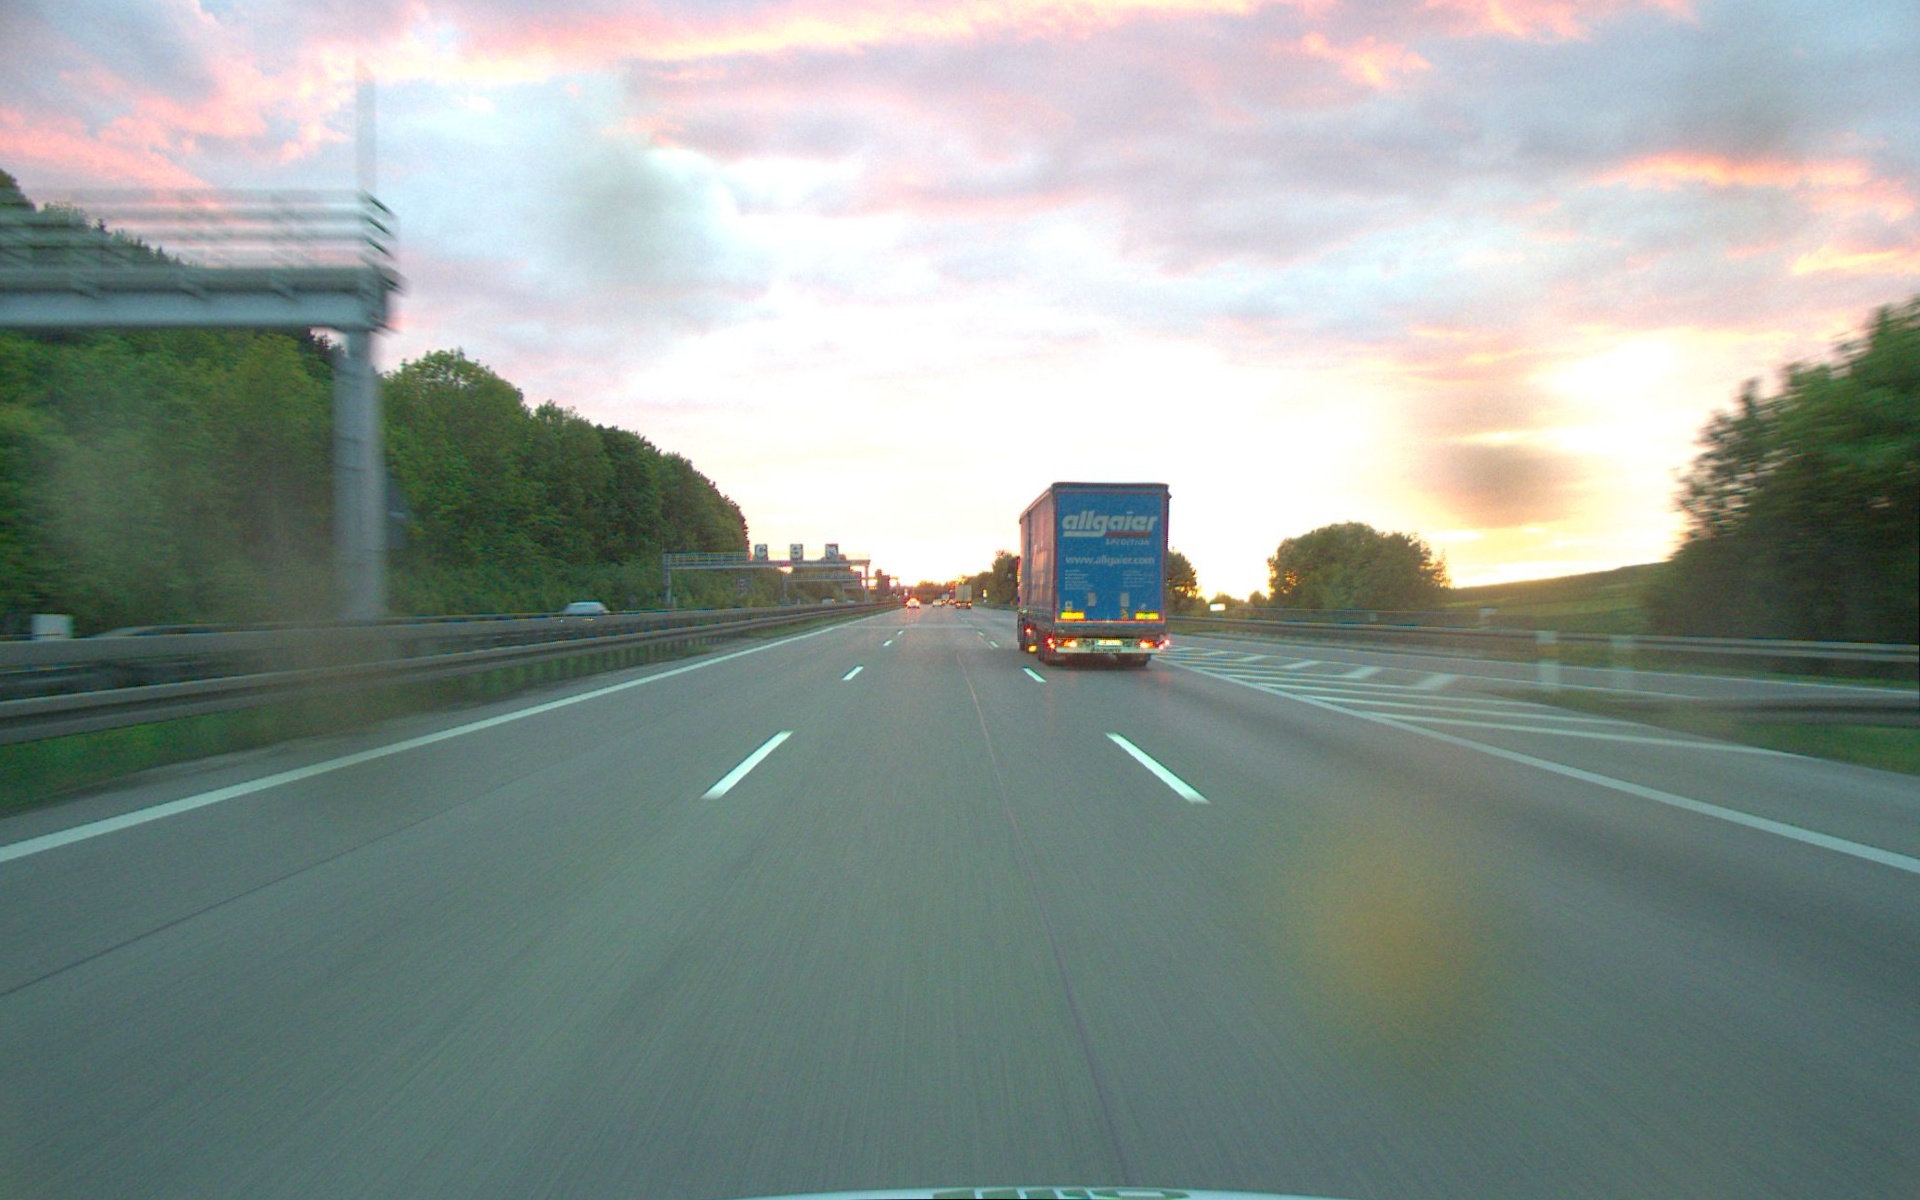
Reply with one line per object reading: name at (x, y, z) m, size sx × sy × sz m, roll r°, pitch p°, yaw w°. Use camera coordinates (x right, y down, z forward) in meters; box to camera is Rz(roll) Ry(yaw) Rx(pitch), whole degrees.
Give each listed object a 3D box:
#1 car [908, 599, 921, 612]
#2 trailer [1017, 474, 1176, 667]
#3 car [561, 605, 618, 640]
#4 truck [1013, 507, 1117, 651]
car at (-7.054, 0.835, 257.936) m, size 1.972 × 1.780 × 3.902 m, roll -4°, pitch 0°, yaw -1°
trailer at (3.195, -0.629, 42.791) m, size 2.715 × 4.158 × 13.736 m, roll 0°, pitch 0°, yaw -1°
car at (-17.438, 1.038, 78.047) m, size 1.694 × 1.614 × 4.645 m, roll 0°, pitch 0°, yaw 0°
truck at (3.078, -0.602, 49.949) m, size 2.680 × 4.066 × 5.848 m, roll 0°, pitch 0°, yaw -1°
